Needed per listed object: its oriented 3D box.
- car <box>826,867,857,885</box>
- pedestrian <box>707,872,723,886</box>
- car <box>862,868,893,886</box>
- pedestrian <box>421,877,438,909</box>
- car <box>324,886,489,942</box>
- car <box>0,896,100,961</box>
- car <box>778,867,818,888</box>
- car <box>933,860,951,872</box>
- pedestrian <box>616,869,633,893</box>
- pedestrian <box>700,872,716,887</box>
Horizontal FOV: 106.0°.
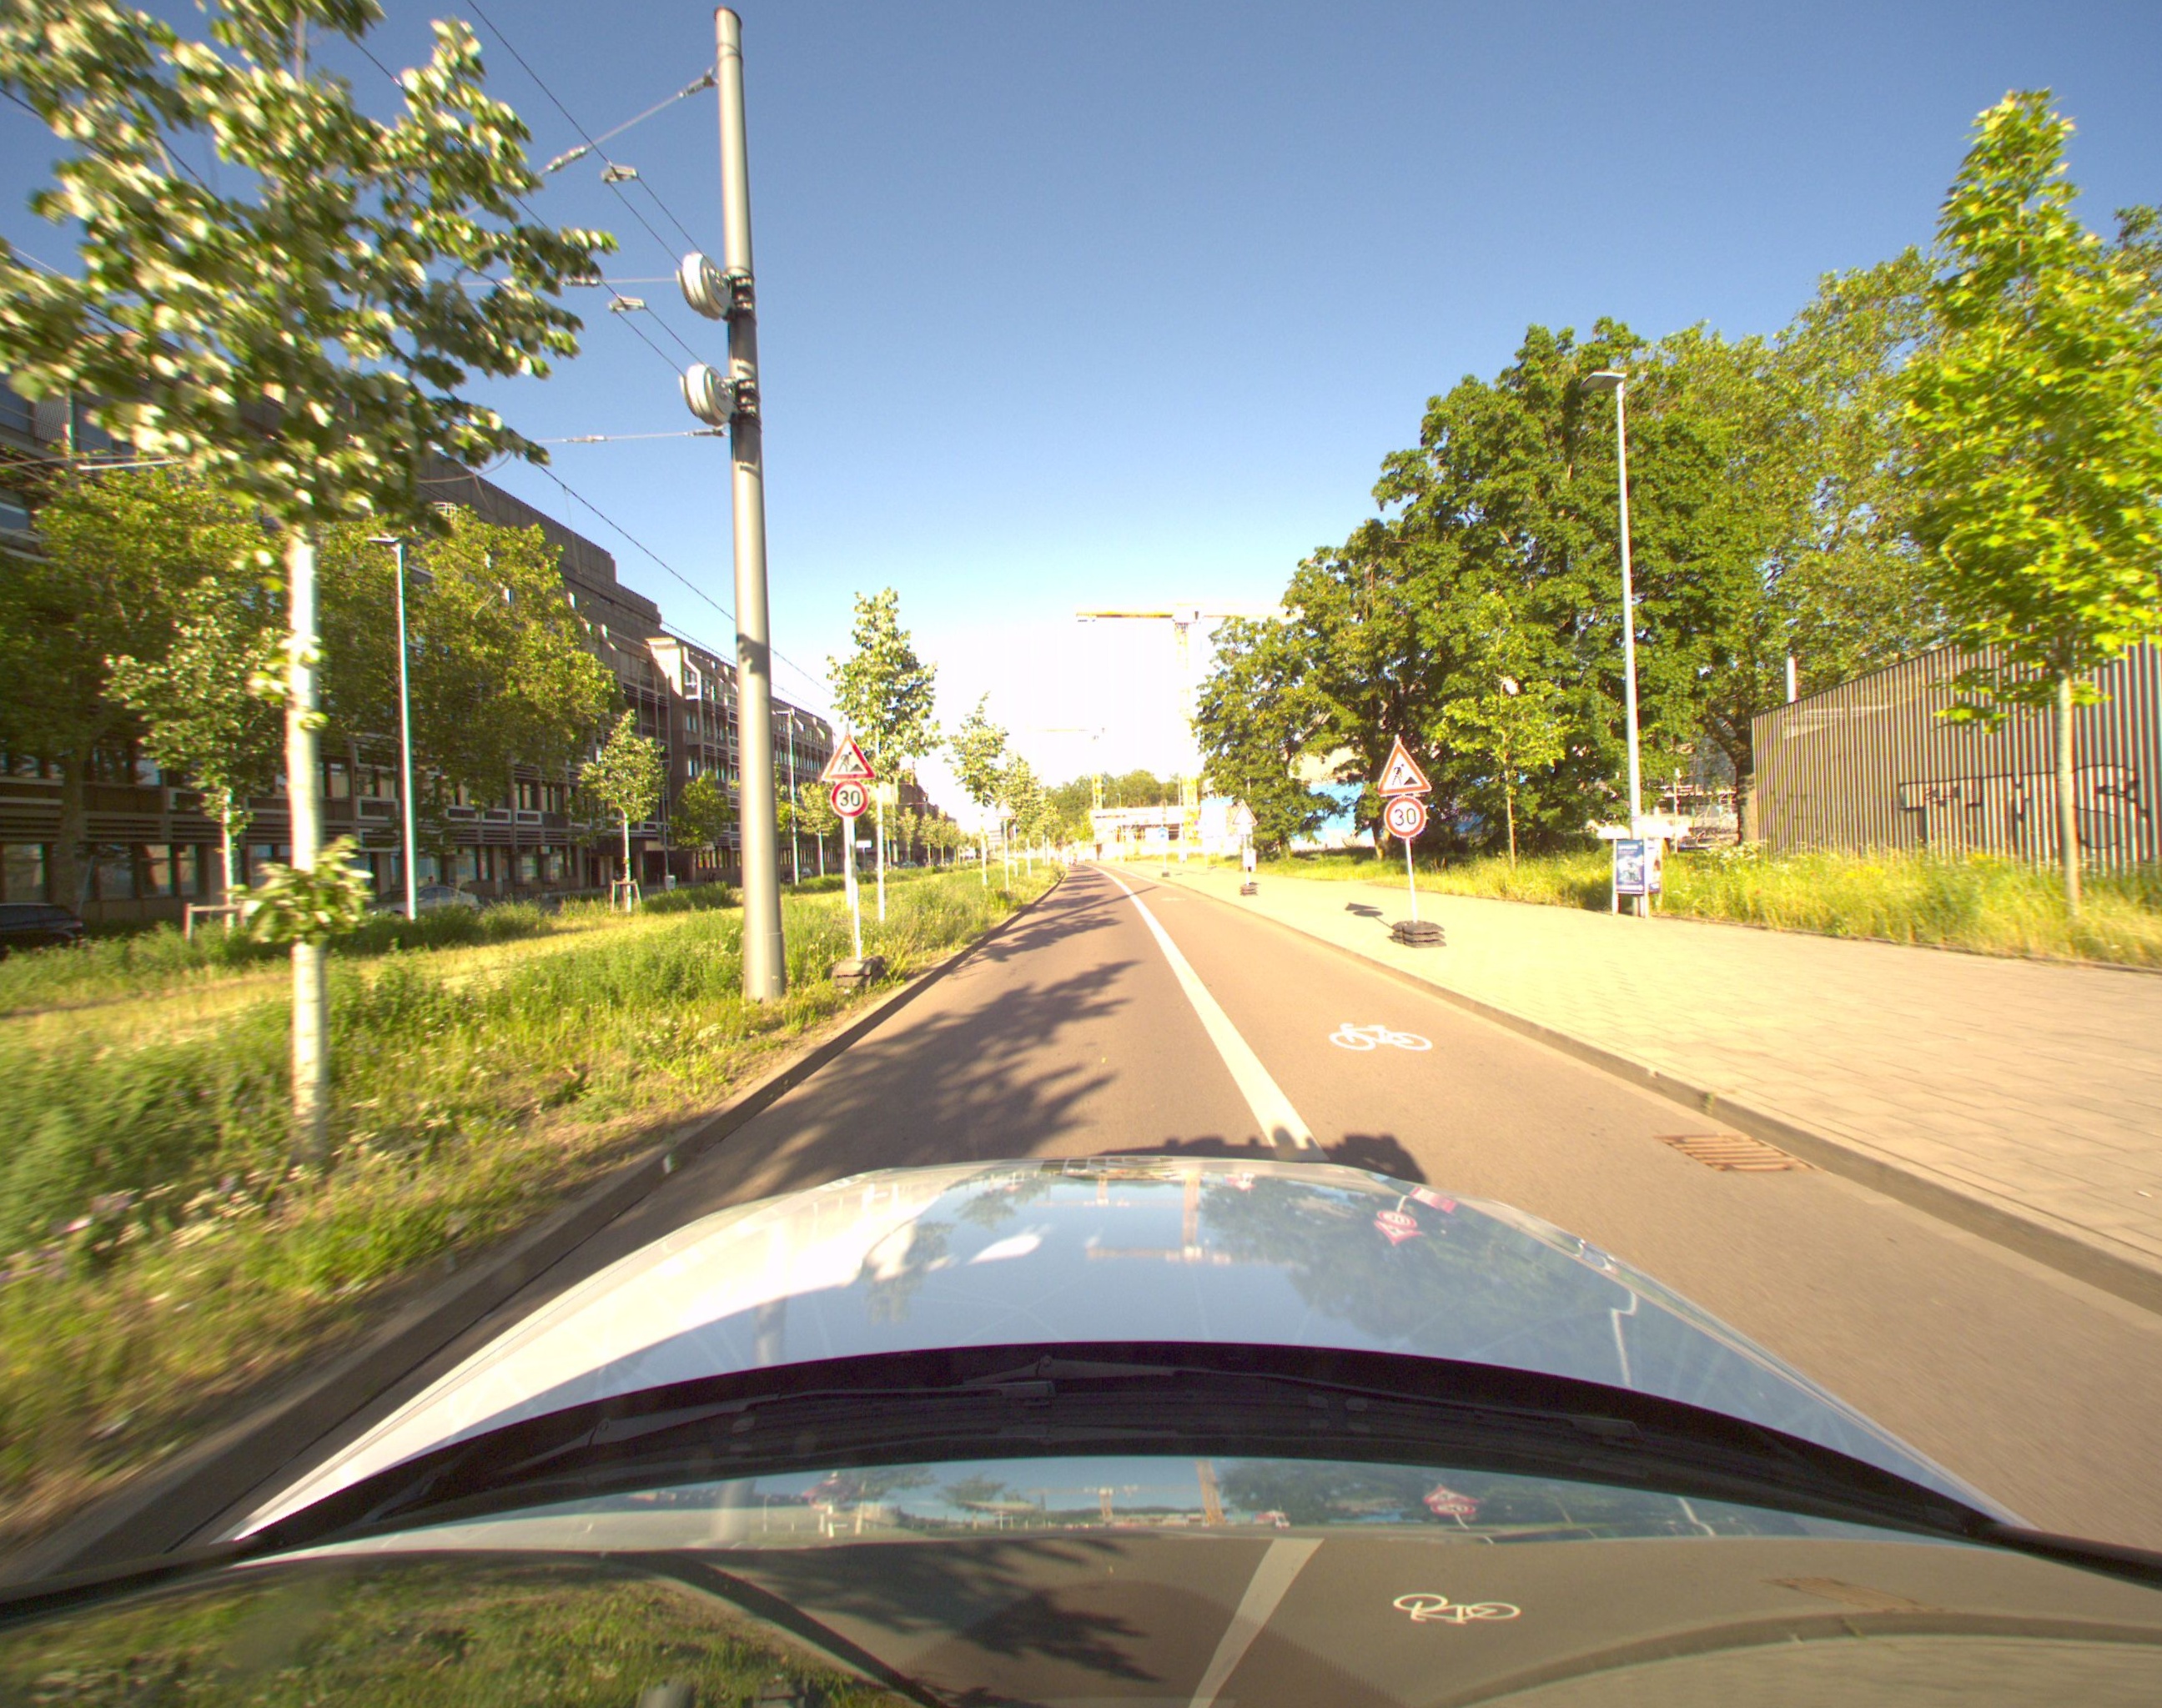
[{"bbox_3d":[-24.752,2.262,84.392,1.897,1.575,4.301,-3,0,0],"label":"car"},{"bbox_3d":[-31.259,2.144,69.592,0.896,1.169,0.899,-3,0,1],"label":"pedestrian"},{"bbox_3d":[-20.097,2.286,80.580,1.897,1.575,4.000,-3,0,0],"label":"car"},{"bbox_3d":[-32.757,1.946,40.953,0.407,1.561,0.447,-3,0,2],"label":"pedestrian"},{"bbox_3d":[-23.426,2.018,28.543,1.751,1.515,4.585,-3,0,2],"label":"car"},{"bbox_3d":[-29.189,2.062,21.244,1.853,1.596,4.280,-3,0,3],"label":"car"},{"bbox_3d":[-24.305,1.964,70.099,1.897,1.575,4.301,-3,0,0],"label":"car"},{"bbox_3d":[-20.725,1.777,121.860,1.897,1.575,4.301,-3,0,0],"label":"car"},{"bbox_3d":[-29.299,1.720,52.303,0.662,1.532,0.649,-3,0,-3],"label":"pedestrian"},{"bbox_3d":[-31.309,2.164,68.390,0.897,1.169,0.865,-3,0,0],"label":"pedestrian"}]
